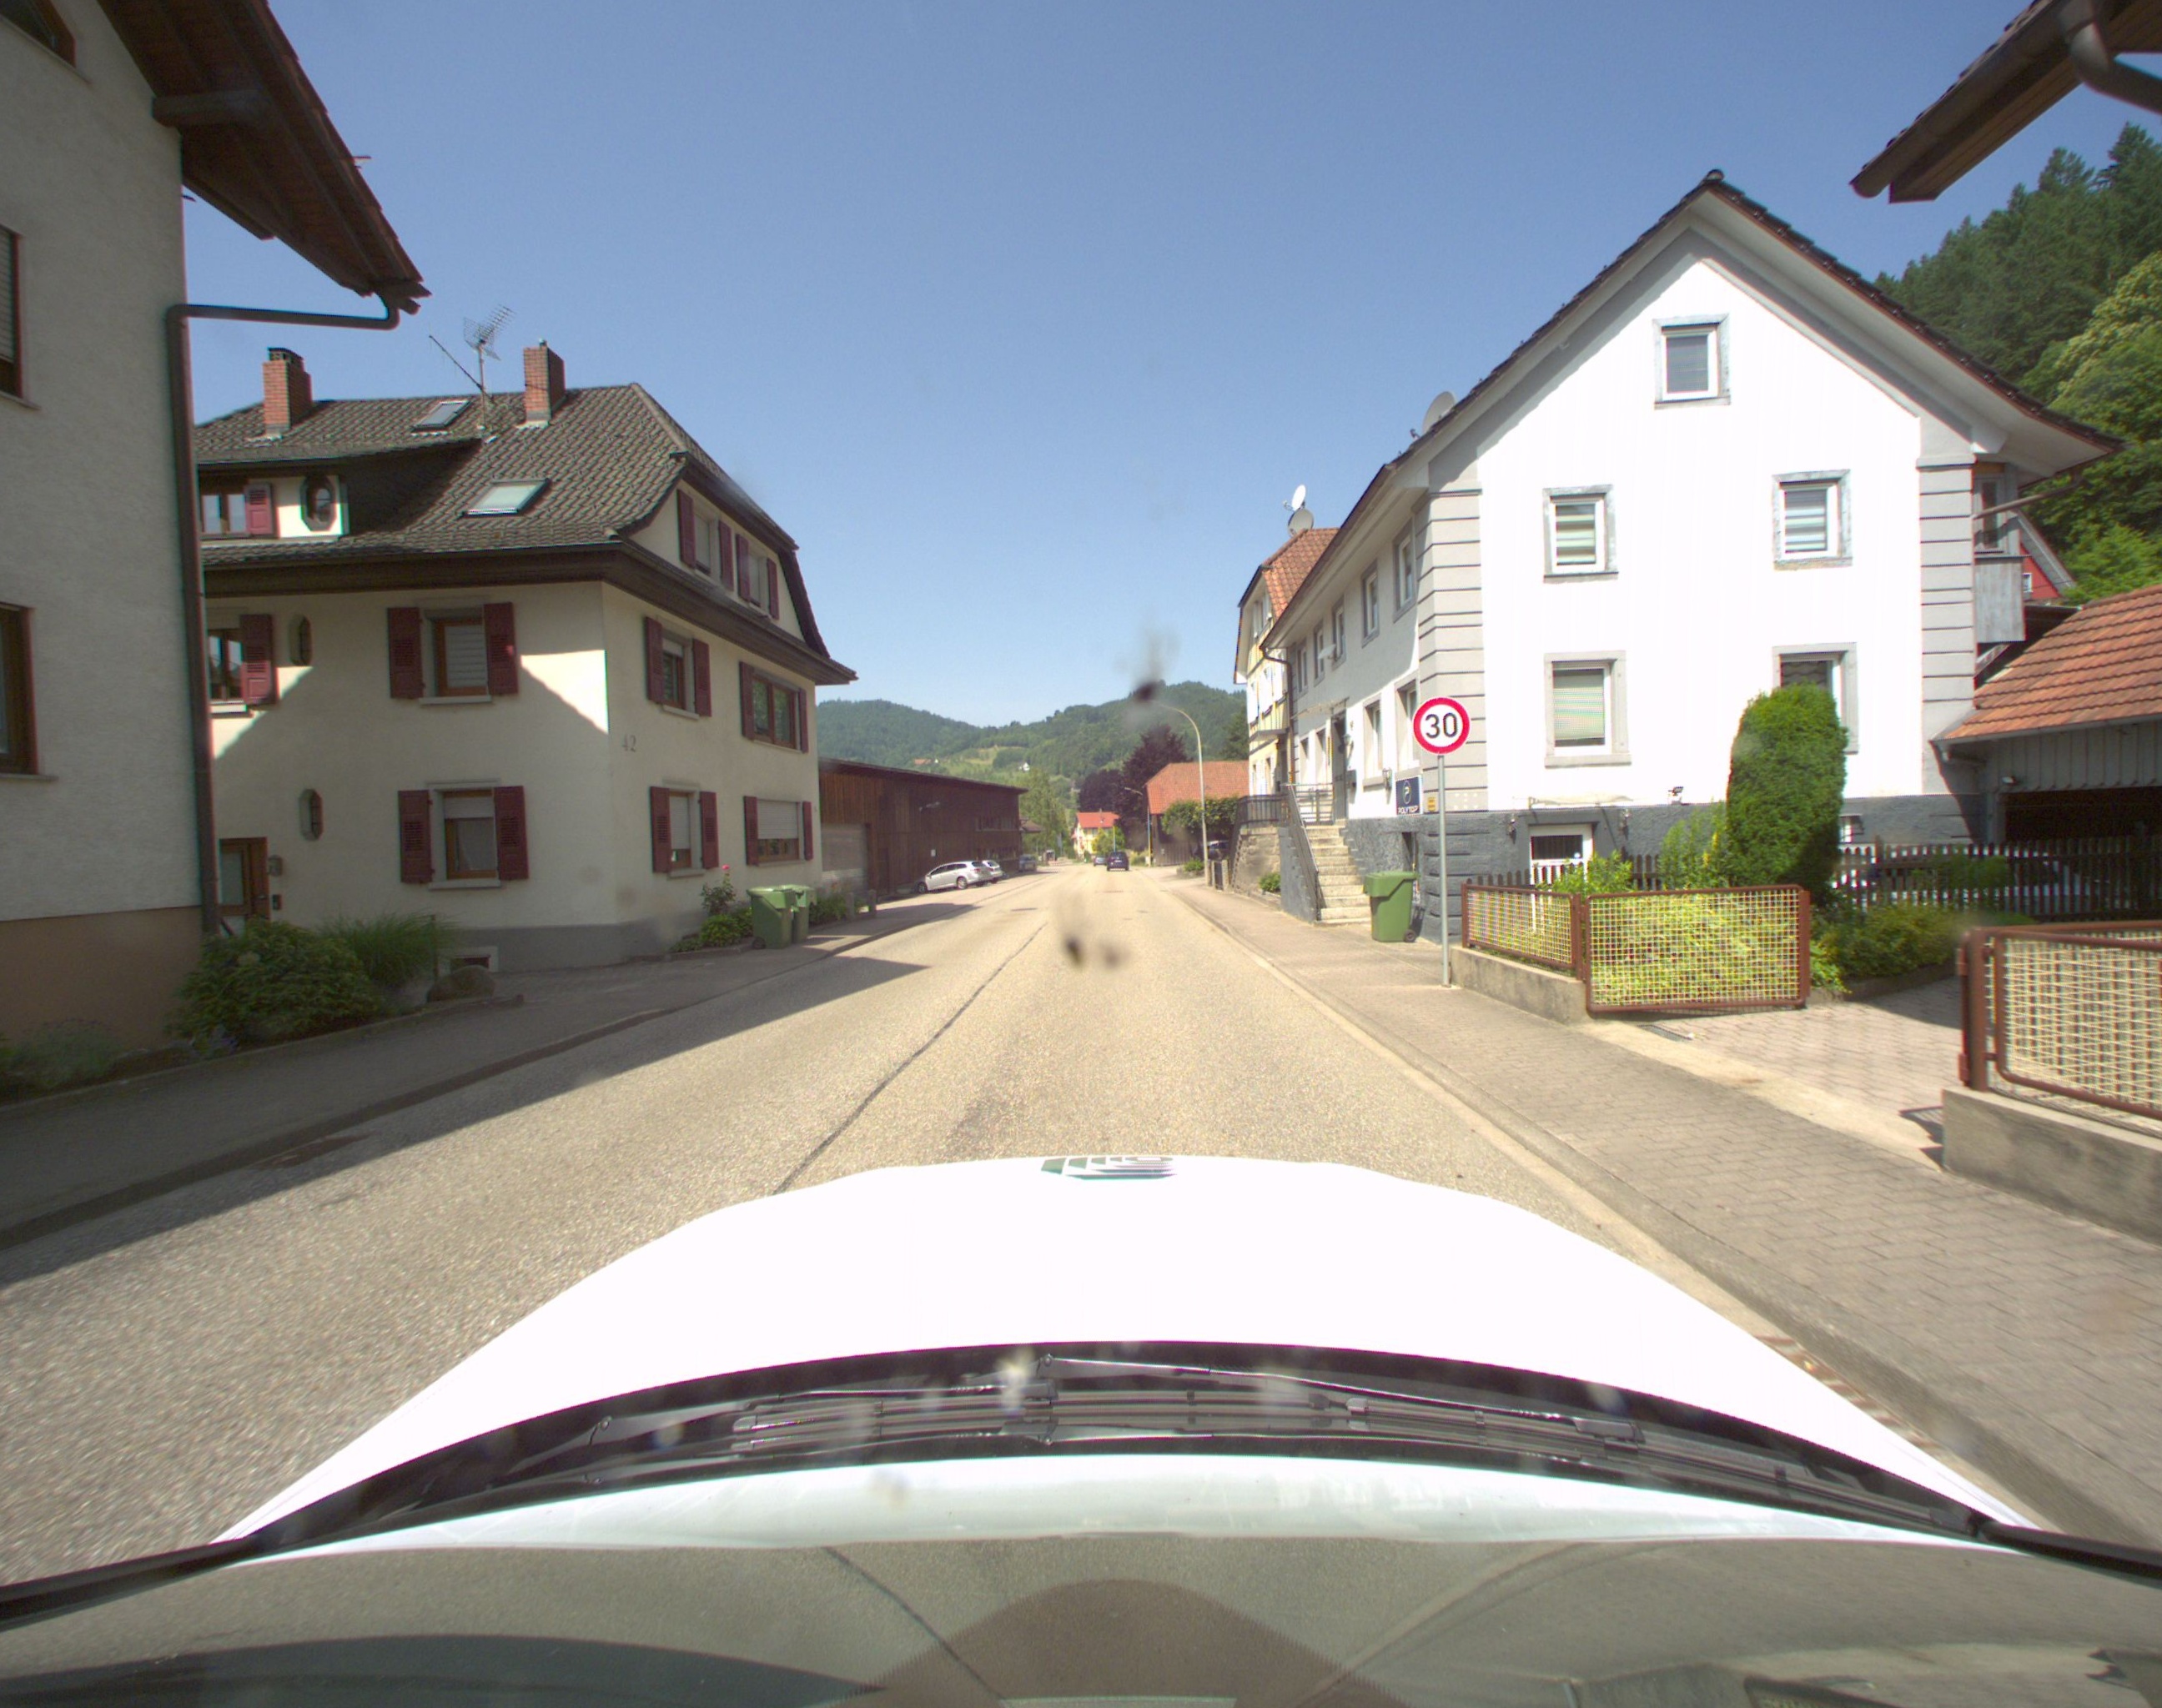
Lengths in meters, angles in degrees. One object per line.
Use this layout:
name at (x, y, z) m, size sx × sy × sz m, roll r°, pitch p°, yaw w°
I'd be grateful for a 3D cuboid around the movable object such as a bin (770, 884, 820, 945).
movable object such as a bin at (-5.345, 1.117, 15.247) m, size 0.673 × 1.067 × 0.621 m, roll -3°, pitch 0°, yaw 0°

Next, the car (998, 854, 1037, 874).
car at (-5.518, 0.859, 71.364) m, size 1.716 × 1.454 × 4.825 m, roll -2°, pitch 1°, yaw 16°

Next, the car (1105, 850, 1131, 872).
car at (3.069, 0.560, 67.832) m, size 1.913 × 1.698 × 3.788 m, roll -3°, pitch 0°, yaw 0°

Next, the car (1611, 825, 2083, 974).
car at (9.027, 0.484, 9.919) m, size 3.941 × 1.590 × 1.802 m, roll 1°, pitch 0°, yaw 5°

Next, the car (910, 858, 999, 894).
car at (-6.970, 1.207, 44.809) m, size 4.388 × 1.474 × 1.936 m, roll -6°, pitch -1°, yaw 27°

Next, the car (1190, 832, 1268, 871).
car at (8.598, -0.135, 47.553) m, size 4.201 × 1.687 × 1.779 m, roll -7°, pitch -1°, yaw 5°

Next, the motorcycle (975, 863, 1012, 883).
motorcycle at (-6.257, 1.341, 58.202) m, size 2.393 × 1.264 × 0.745 m, roll -3°, pitch 0°, yaw 11°

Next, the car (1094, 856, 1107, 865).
car at (2.639, 0.889, 111.514) m, size 1.473 × 1.209 × 2.382 m, roll -3°, pitch 0°, yaw -3°

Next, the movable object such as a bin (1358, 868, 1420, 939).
movable object such as a bin at (4.748, 0.752, 12.569) m, size 0.701 × 1.020 × 0.618 m, roll -3°, pitch 0°, yaw 3°

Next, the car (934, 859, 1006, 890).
car at (-6.478, 1.186, 47.655) m, size 3.630 × 1.385 × 1.719 m, roll -7°, pitch -1°, yaw 17°

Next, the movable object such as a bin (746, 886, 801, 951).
movable object such as a bin at (-5.447, 1.136, 14.467) m, size 0.673 × 1.067 × 0.653 m, roll -3°, pitch 0°, yaw 0°
